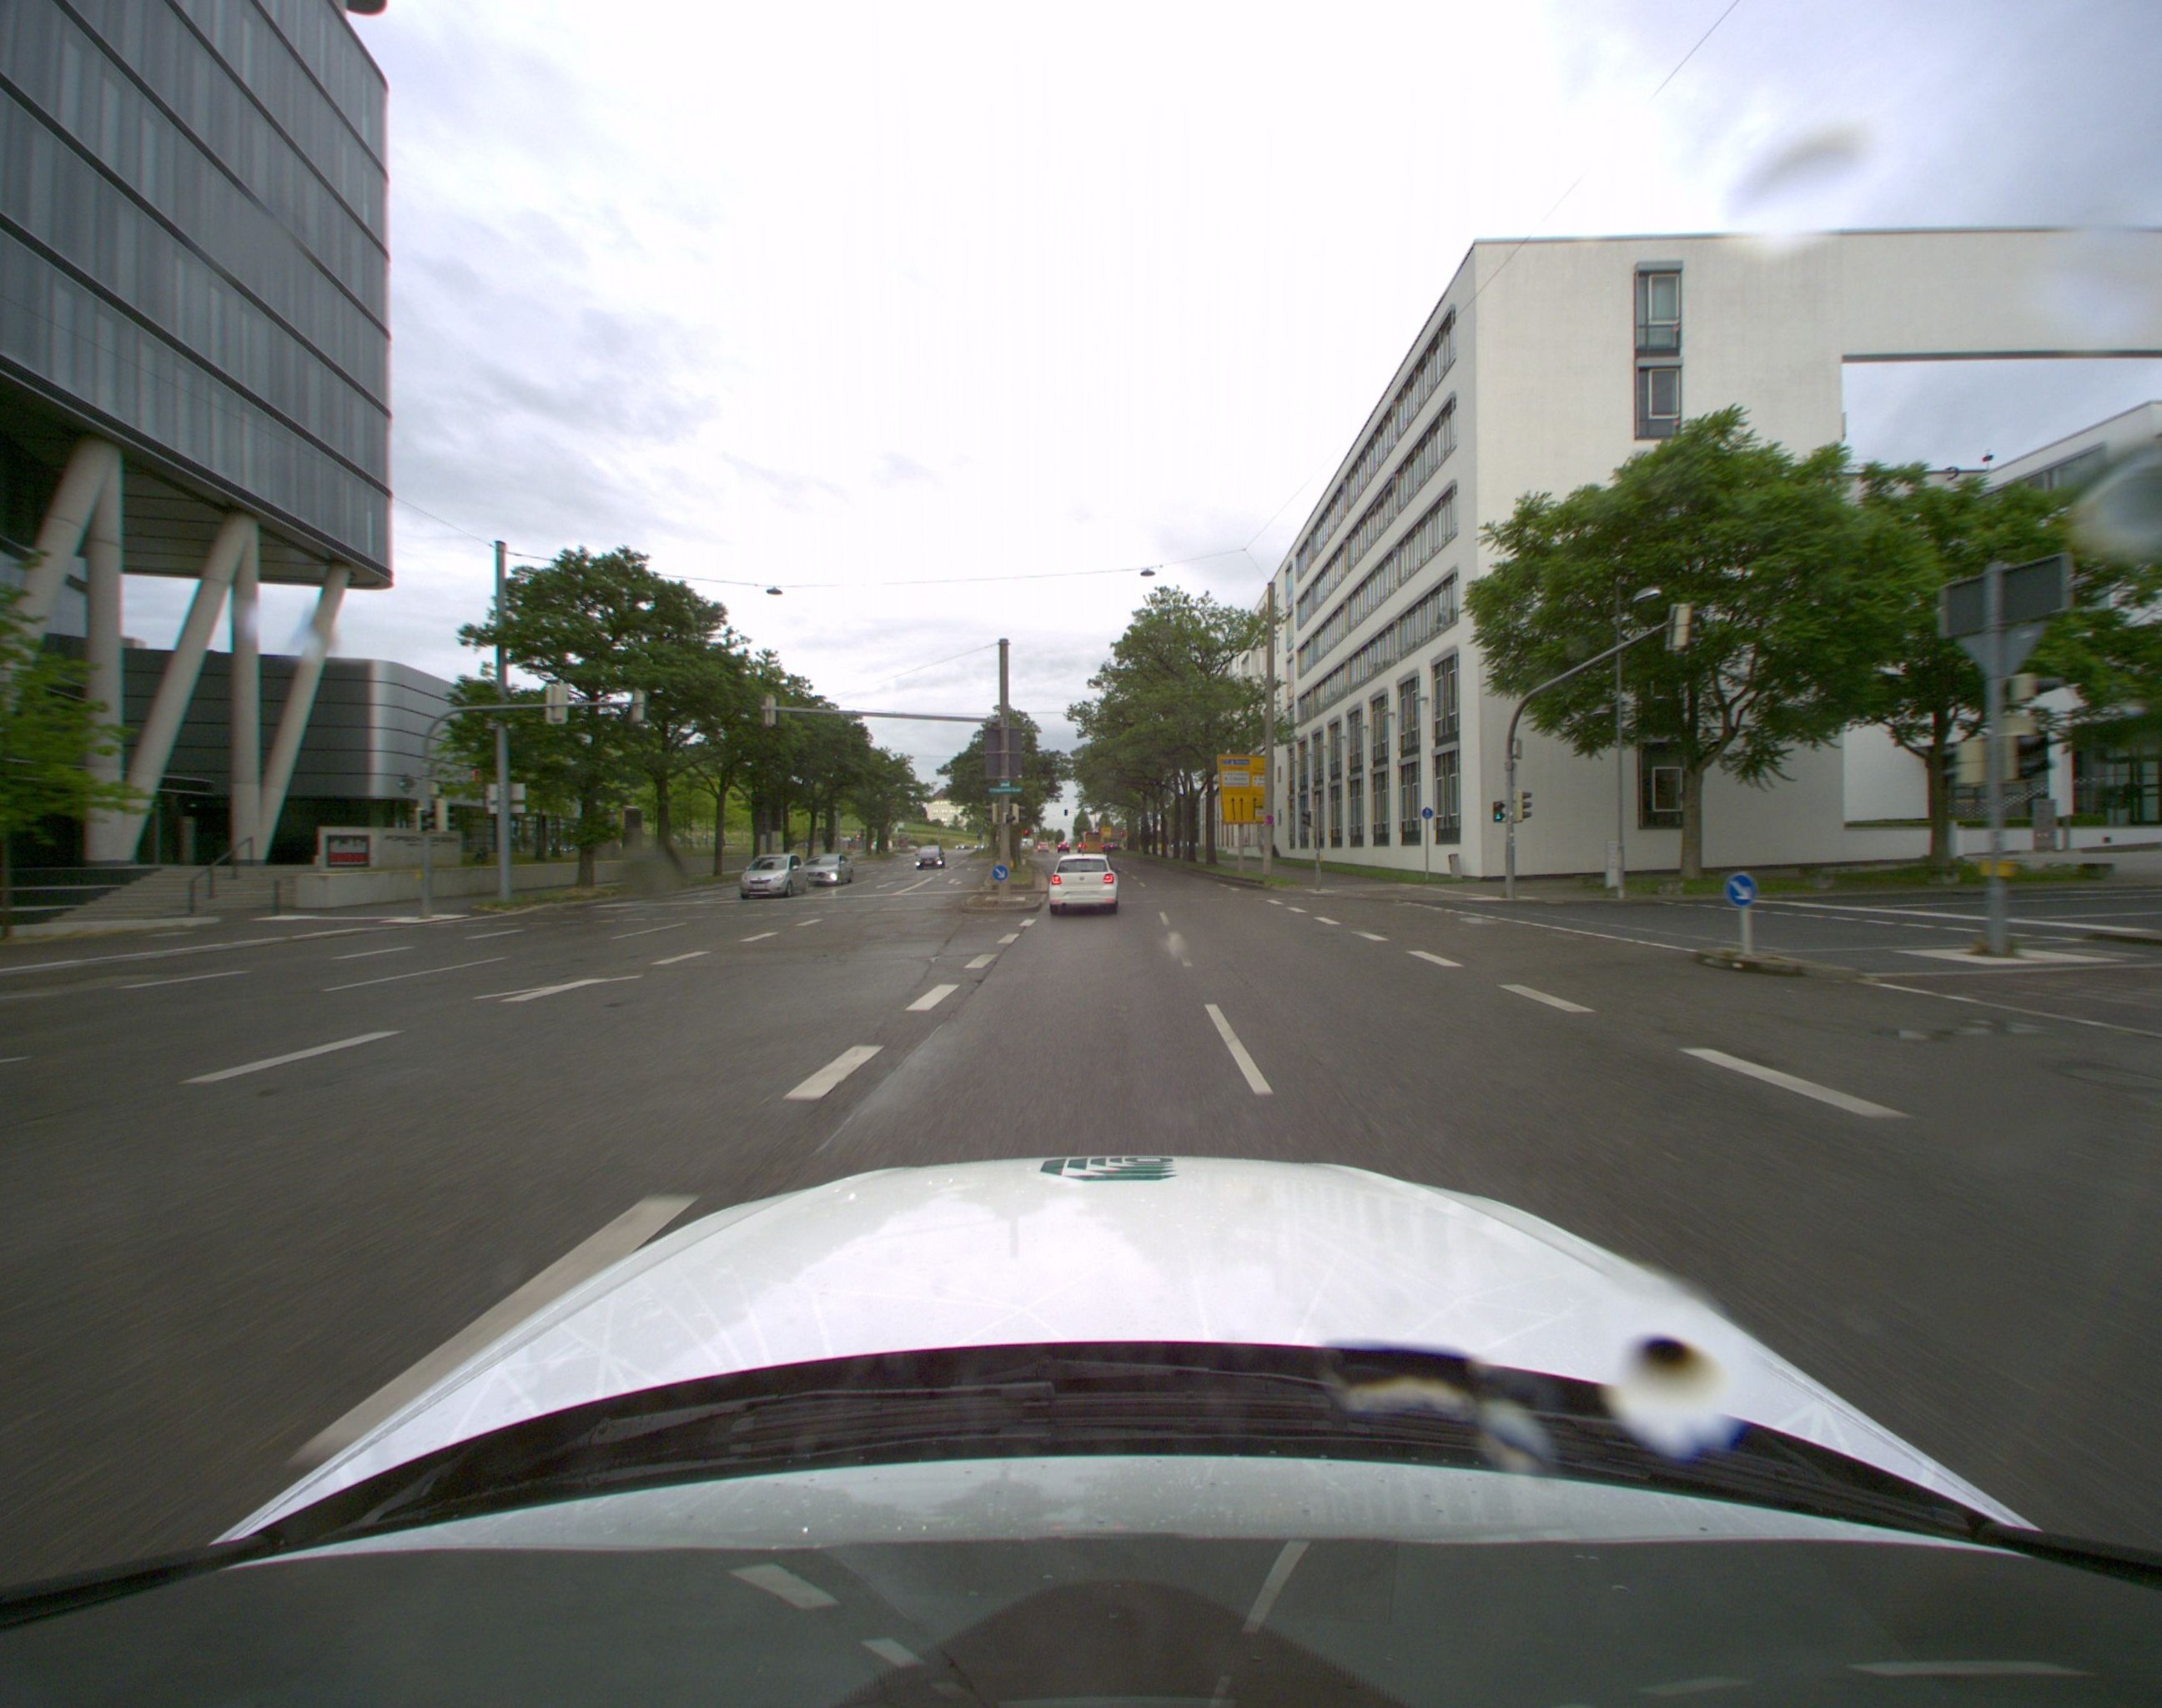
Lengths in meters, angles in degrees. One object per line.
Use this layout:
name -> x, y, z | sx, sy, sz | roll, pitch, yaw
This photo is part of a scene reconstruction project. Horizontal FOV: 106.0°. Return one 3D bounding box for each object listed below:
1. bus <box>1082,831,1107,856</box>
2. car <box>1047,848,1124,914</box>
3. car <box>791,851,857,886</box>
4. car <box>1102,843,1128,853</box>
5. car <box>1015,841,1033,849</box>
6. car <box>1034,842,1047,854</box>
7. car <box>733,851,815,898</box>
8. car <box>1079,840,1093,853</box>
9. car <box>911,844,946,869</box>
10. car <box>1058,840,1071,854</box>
bus -> 1.752, -1.402, 109.859 | 2.820, 3.266, 9.994 | 0, 1, -2
car -> 0.095, 0.613, 21.138 | 1.789, 1.502, 3.999 | 0, 1, -1
car -> -11.716, 0.606, 37.431 | 1.811, 1.411, 4.648 | -2, 1, -4
car -> 5.104, -0.933, 122.235 | 1.679, 1.515, 3.851 | -1, 0, 43
car -> -14.232, -2.306, 203.594 | 1.975, 2.013, 5.744 | -1, 1, 26
car -> -6.153, -0.898, 123.890 | 1.790, 1.741, 3.996 | -1, 0, -3
car -> -11.156, 0.702, 29.839 | 1.747, 1.520, 3.811 | -2, 1, -5
car -> 0.713, -1.105, 123.274 | 1.988, 2.013, 3.997 | -1, 0, -2
car -> -11.053, 0.125, 59.509 | 1.991, 1.615, 5.111 | -2, 1, -5
car -> -2.496, -1.077, 122.333 | 1.988, 2.013, 3.997 | -1, 0, -2
